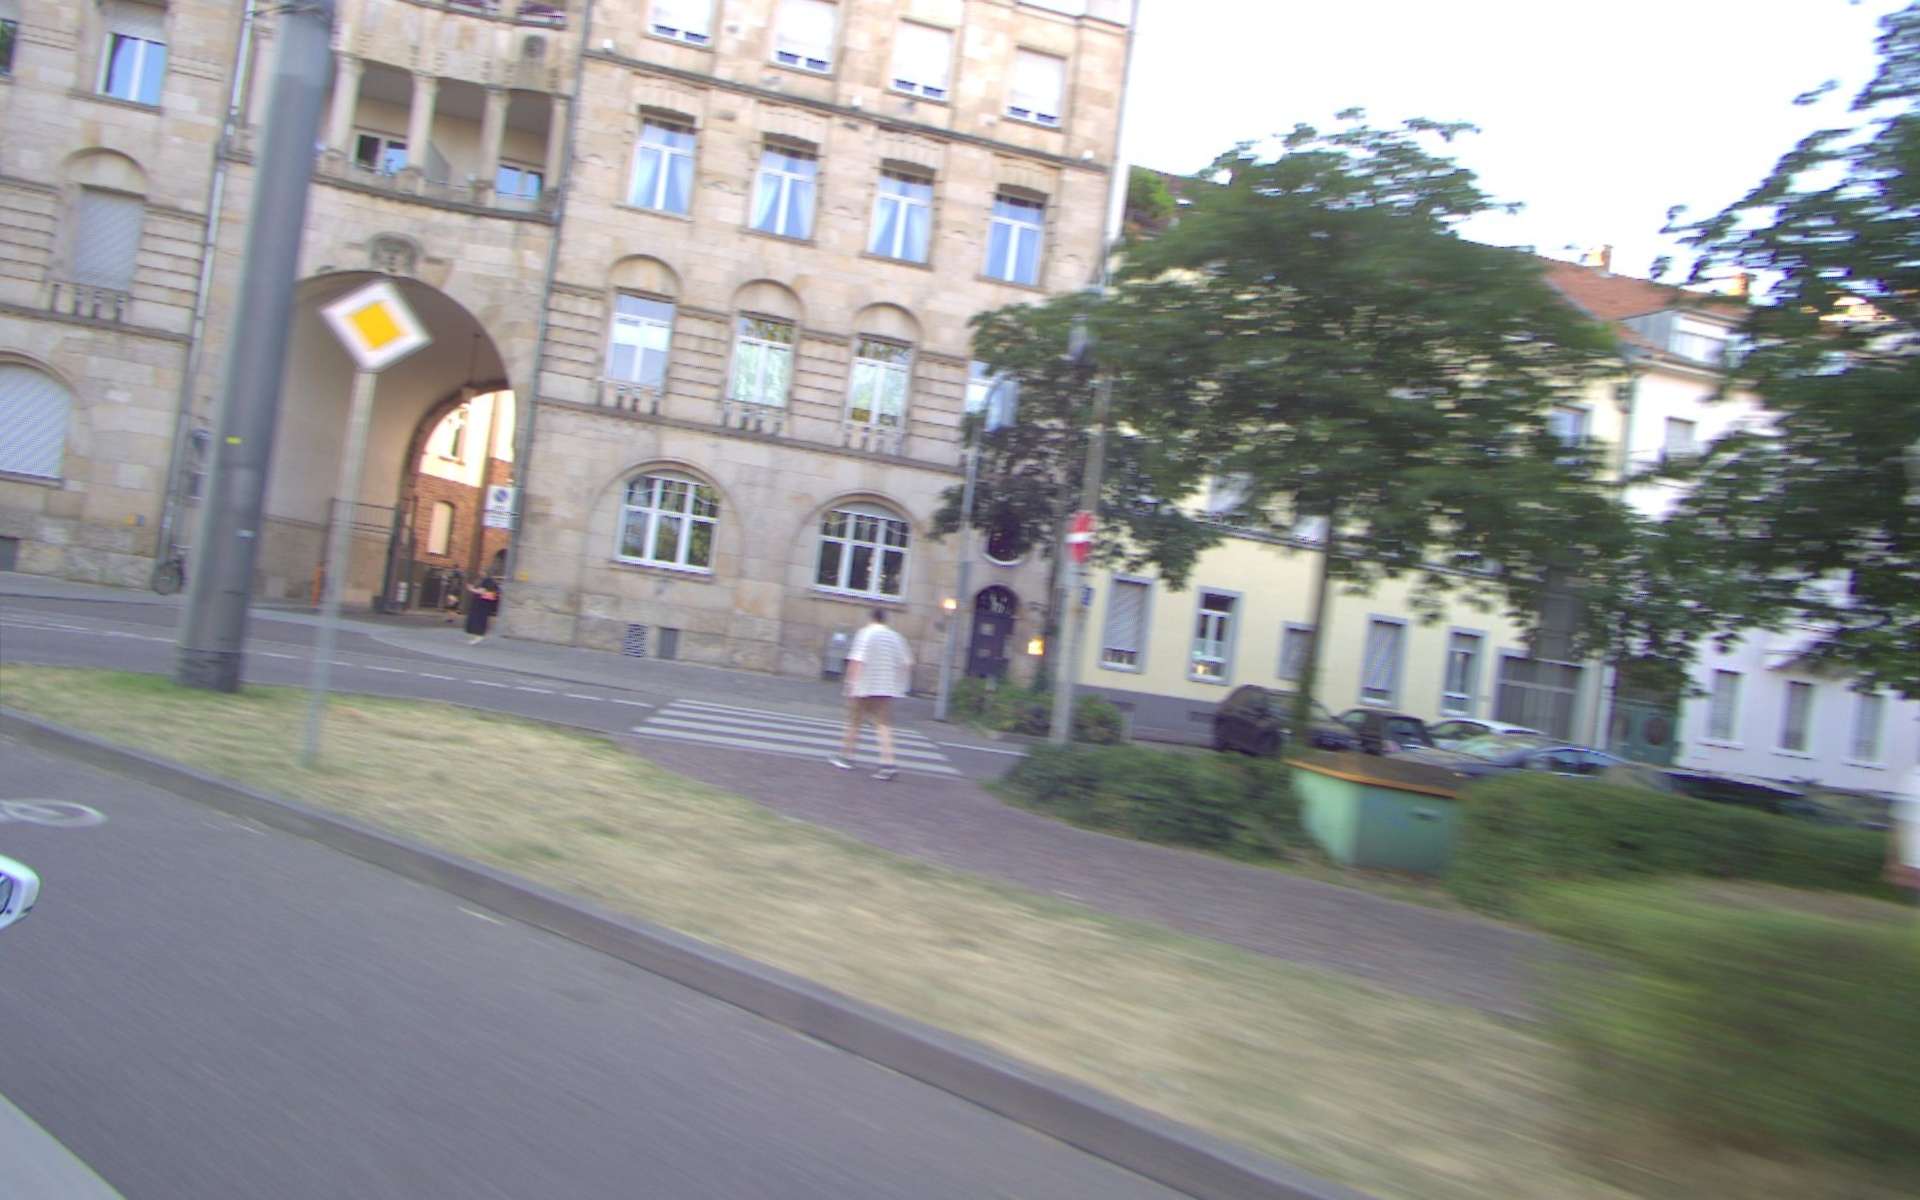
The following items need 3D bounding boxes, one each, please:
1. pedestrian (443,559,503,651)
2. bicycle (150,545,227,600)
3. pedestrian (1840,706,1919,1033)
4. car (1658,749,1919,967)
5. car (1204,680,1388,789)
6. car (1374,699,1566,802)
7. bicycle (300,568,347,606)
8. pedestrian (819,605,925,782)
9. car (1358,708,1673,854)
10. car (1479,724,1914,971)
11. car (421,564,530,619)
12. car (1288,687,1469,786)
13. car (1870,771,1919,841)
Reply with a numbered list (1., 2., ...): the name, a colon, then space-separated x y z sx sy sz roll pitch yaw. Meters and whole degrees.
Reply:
1. pedestrian: -9.796 0.100 20.262 0.709 1.729 0.577 9 -1 -6
2. bicycle: -17.158 -0.589 22.409 0.422 1.085 1.853 9 -2 -10
3. pedestrian: 5.658 1.536 5.550 0.775 1.735 0.766 9 -1 -20
4. car: 9.738 2.717 10.752 1.831 1.574 4.073 9 -2 6
5. car: 7.009 2.771 21.543 1.807 1.575 4.395 9 -2 -7
6. car: 11.478 3.346 22.986 1.806 1.588 4.066 9 -2 -7
7. bicycle: -18.037 -0.358 28.533 0.474 0.966 1.510 9 -2 -10
8. pedestrian: -0.968 1.029 11.232 0.806 1.812 0.593 8 -1 9
9. car: 8.657 2.813 15.779 4.073 1.499 1.816 9 -2 -14
10. car: 7.507 2.410 10.876 1.831 1.574 4.073 9 -2 6
11. car: -19.962 -0.342 41.493 3.617 1.613 1.627 9 -1 12
12. car: 9.267 2.984 22.695 1.807 1.502 4.065 9 -2 -8
13. car: 25.167 5.380 24.445 1.967 1.569 4.063 9 -2 -10
